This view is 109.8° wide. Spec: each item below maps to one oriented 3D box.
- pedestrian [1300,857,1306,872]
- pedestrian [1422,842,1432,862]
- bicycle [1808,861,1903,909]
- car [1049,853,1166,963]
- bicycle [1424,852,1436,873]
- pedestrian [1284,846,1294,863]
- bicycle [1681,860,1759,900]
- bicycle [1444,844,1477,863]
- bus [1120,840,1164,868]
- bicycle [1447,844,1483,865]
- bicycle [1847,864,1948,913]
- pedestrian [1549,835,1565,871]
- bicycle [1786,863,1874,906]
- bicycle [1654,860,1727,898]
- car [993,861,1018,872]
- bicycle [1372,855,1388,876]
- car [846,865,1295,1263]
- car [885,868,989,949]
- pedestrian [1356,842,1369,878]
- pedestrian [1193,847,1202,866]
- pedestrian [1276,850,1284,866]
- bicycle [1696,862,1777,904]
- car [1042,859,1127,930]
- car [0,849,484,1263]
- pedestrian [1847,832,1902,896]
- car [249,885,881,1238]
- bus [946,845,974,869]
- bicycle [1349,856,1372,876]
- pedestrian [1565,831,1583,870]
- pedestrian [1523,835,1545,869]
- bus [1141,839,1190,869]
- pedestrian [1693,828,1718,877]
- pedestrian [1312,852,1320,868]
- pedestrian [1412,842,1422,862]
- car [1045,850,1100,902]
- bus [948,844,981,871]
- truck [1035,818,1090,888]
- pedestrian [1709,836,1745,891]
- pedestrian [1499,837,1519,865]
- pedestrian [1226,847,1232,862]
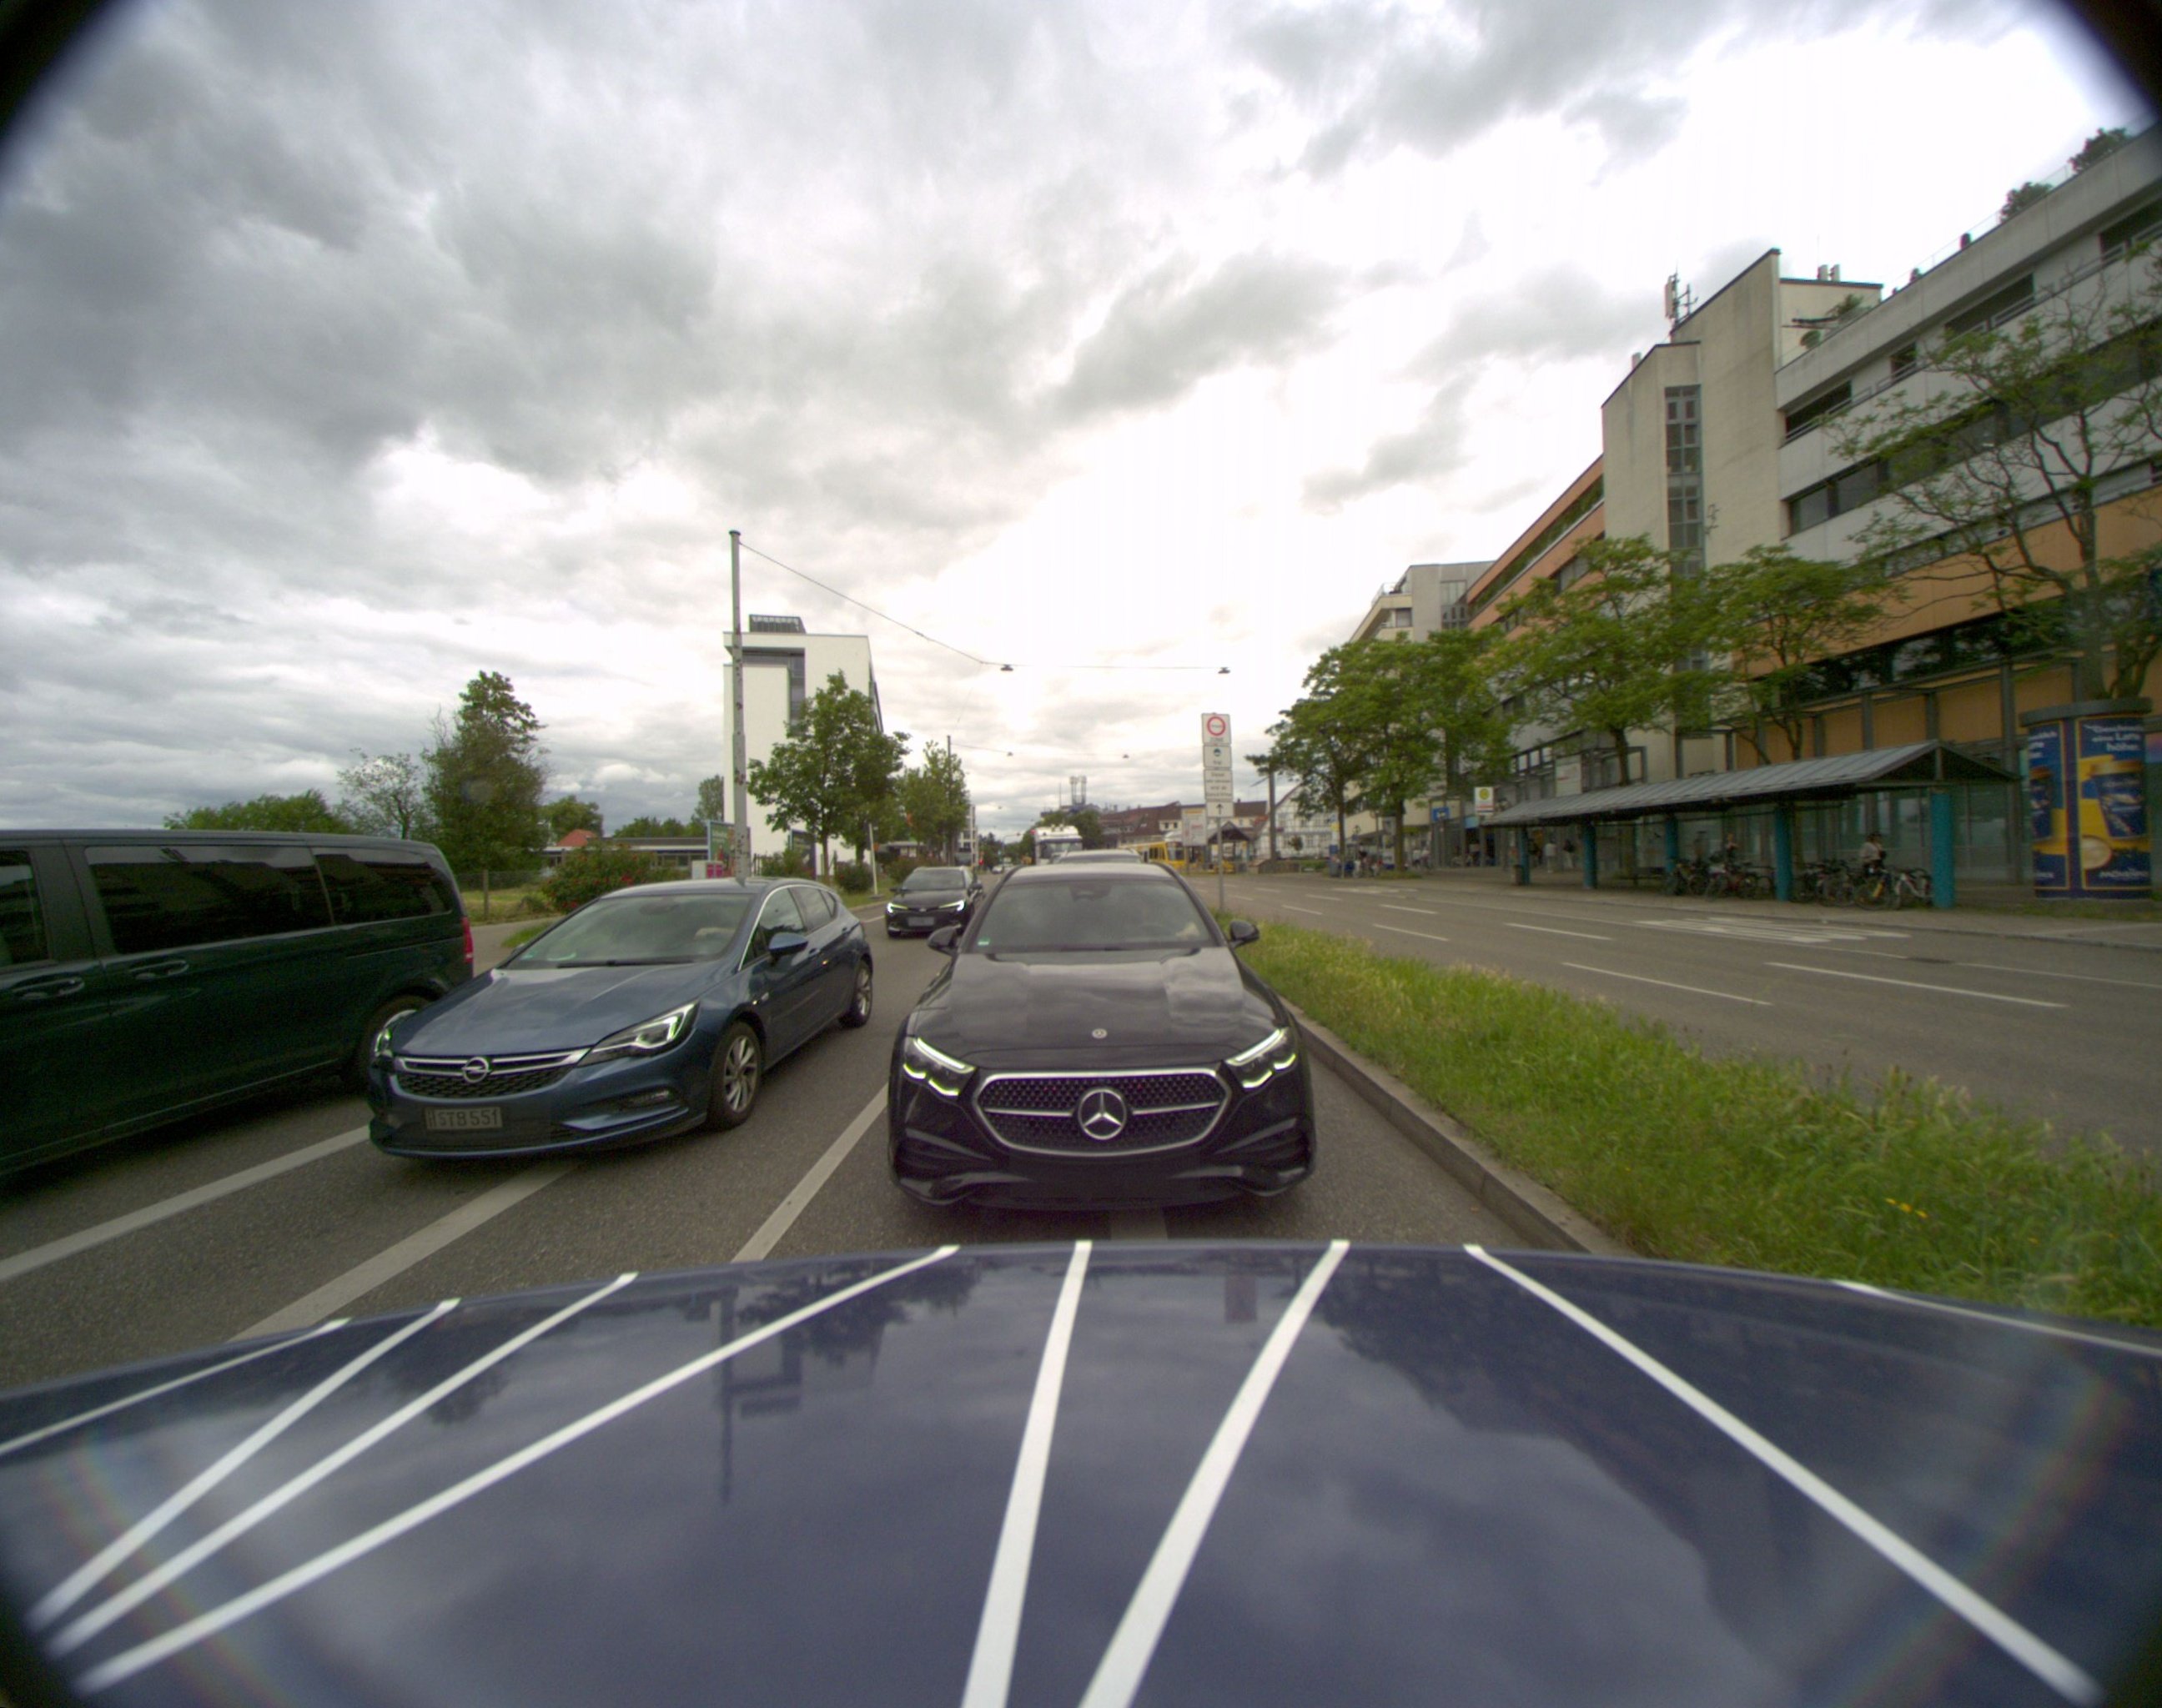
[{"bbox_3d":[18.401,0.869,62.853,0.341,1.172,0.369,-1,1,-9],"label":"pedestrian"},{"bbox_3d":[25.793,-0.154,56.604,0.555,1.485,0.454,-1,1,8],"label":"pedestrian"},{"bbox_3d":[18.625,0.746,18.288,1.735,1.035,0.549,-3,1,-2],"label":"bicycle"},{"bbox_3d":[0.391,0.815,13.486,1.734,1.601,4.000,-2,0,0],"label":"car"},{"bbox_3d":[19.484,0.458,42.389,0.593,1.119,2.040,0,1,24],"label":"bicycle"},{"bbox_3d":[23.783,0.047,86.771,0.879,2.002,1.010,-1,1,6],"label":"pedestrian"},{"bbox_3d":[18.282,0.736,21.747,1.735,1.035,0.549,-4,1,-2],"label":"bicycle"},{"bbox_3d":[27.754,-0.039,55.556,2.138,1.358,0.620,-2,1,26],"label":"bicycle"},{"bbox_3d":[6.931,-0.003,87.955,2.556,2.966,9.790,-1,0,-11],"label":"bus"},{"bbox_3d":[26.991,0.019,53.404,2.139,1.367,0.620,-2,1,18],"label":"bicycle"},{"bbox_3d":[18.684,0.778,17.402,1.735,1.035,0.549,-2,1,-2],"label":"bicycle"},{"bbox_3d":[24.097,-0.057,38.493,0.648,1.799,0.761,0,1,34],"label":"pedestrian"},{"bbox_3d":[19.024,0.768,19.312,1.735,1.035,0.549,-2,1,-2],"label":"bicycle"},{"bbox_3d":[18.203,0.741,22.707,1.735,1.035,0.549,-3,1,-2],"label":"bicycle"},{"bbox_3d":[-12.420,2.074,125.319,3.790,1.607,1.848,-3,1,-44],"label":"car"},{"bbox_3d":[16.399,0.612,41.650,0.593,1.071,2.041,0,1,29],"label":"bicycle"},{"bbox_3d":[-0.054,0.880,5.193,1.793,1.507,4.249,-1,0,0],"label":"car"},{"bbox_3d":[-3.066,1.105,16.911,1.665,1.448,3.920,-2,0,-2],"label":"car"},{"bbox_3d":[18.207,0.403,49.196,0.590,2.294,0.608,-1,1,-2],"label":"pedestrian"},{"bbox_3d":[12.064,0.233,78.899,0.637,2.002,0.667,-1,1,-20],"label":"pedestrian"},{"bbox_3d":[19.740,0.368,75.413,0.577,1.533,0.583,-1,1,-8],"label":"pedestrian"},{"bbox_3d":[17.946,0.783,20.814,1.735,1.035,0.549,-3,1,-2],"label":"bicycle"},{"bbox_3d":[0.043,0.904,18.912,1.865,1.520,3.999,-1,0,-1],"label":"car"},{"bbox_3d":[-5.790,0.938,3.671,1.954,1.829,4.709,-3,0,1],"label":"car"},{"bbox_3d":[20.995,0.269,20.121,0.678,1.640,0.721,-2,1,-3],"label":"pedestrian"},{"bbox_3d":[-2.914,1.045,5.530,1.826,1.402,4.000,-2,0,0],"label":"car"},{"bbox_3d":[-15.227,0.327,95.052,2.969,2.616,12.911,-2,1,-11],"label":"bus"},{"bbox_3d":[15.476,0.645,42.021,0.593,1.071,2.041,0,1,38],"label":"bicycle"},{"bbox_3d":[25.514,-0.162,39.298,0.566,2.002,0.611,-1,1,6],"label":"pedestrian"},{"bbox_3d":[25.028,-0.128,41.955,0.765,1.835,0.752,-1,1,1],"label":"pedestrian"},{"bbox_3d":[8.695,-0.012,79.018,2.556,2.966,8.498,-1,0,-11],"label":"bus"},{"bbox_3d":[25.926,-0.055,31.551,0.566,2.002,0.611,-1,1,6],"label":"pedestrian"},{"bbox_3d":[22.181,0.562,71.671,0.577,1.533,0.583,-1,1,-8],"label":"pedestrian"},{"bbox_3d":[25.139,-0.131,56.892,0.555,1.485,0.454,-1,1,8],"label":"pedestrian"},{"bbox_3d":[-0.368,0.768,28.348,1.865,1.773,3.999,-1,0,-2],"label":"car"},{"bbox_3d":[-12.821,0.374,82.729,2.969,2.616,12.137,-2,1,-11],"label":"bus"},{"bbox_3d":[-1.079,-0.061,39.720,2.490,3.258,7.428,-1,0,-4],"label":"truck"},{"bbox_3d":[21.497,0.313,25.291,0.531,1.776,0.770,-1,1,-7],"label":"pedestrian"},{"bbox_3d":[25.380,-0.178,45.057,0.765,1.673,0.752,-1,1,1],"label":"pedestrian"},{"bbox_3d":[19.329,0.082,99.181,0.742,2.002,0.939,-1,1,11],"label":"pedestrian"}]
